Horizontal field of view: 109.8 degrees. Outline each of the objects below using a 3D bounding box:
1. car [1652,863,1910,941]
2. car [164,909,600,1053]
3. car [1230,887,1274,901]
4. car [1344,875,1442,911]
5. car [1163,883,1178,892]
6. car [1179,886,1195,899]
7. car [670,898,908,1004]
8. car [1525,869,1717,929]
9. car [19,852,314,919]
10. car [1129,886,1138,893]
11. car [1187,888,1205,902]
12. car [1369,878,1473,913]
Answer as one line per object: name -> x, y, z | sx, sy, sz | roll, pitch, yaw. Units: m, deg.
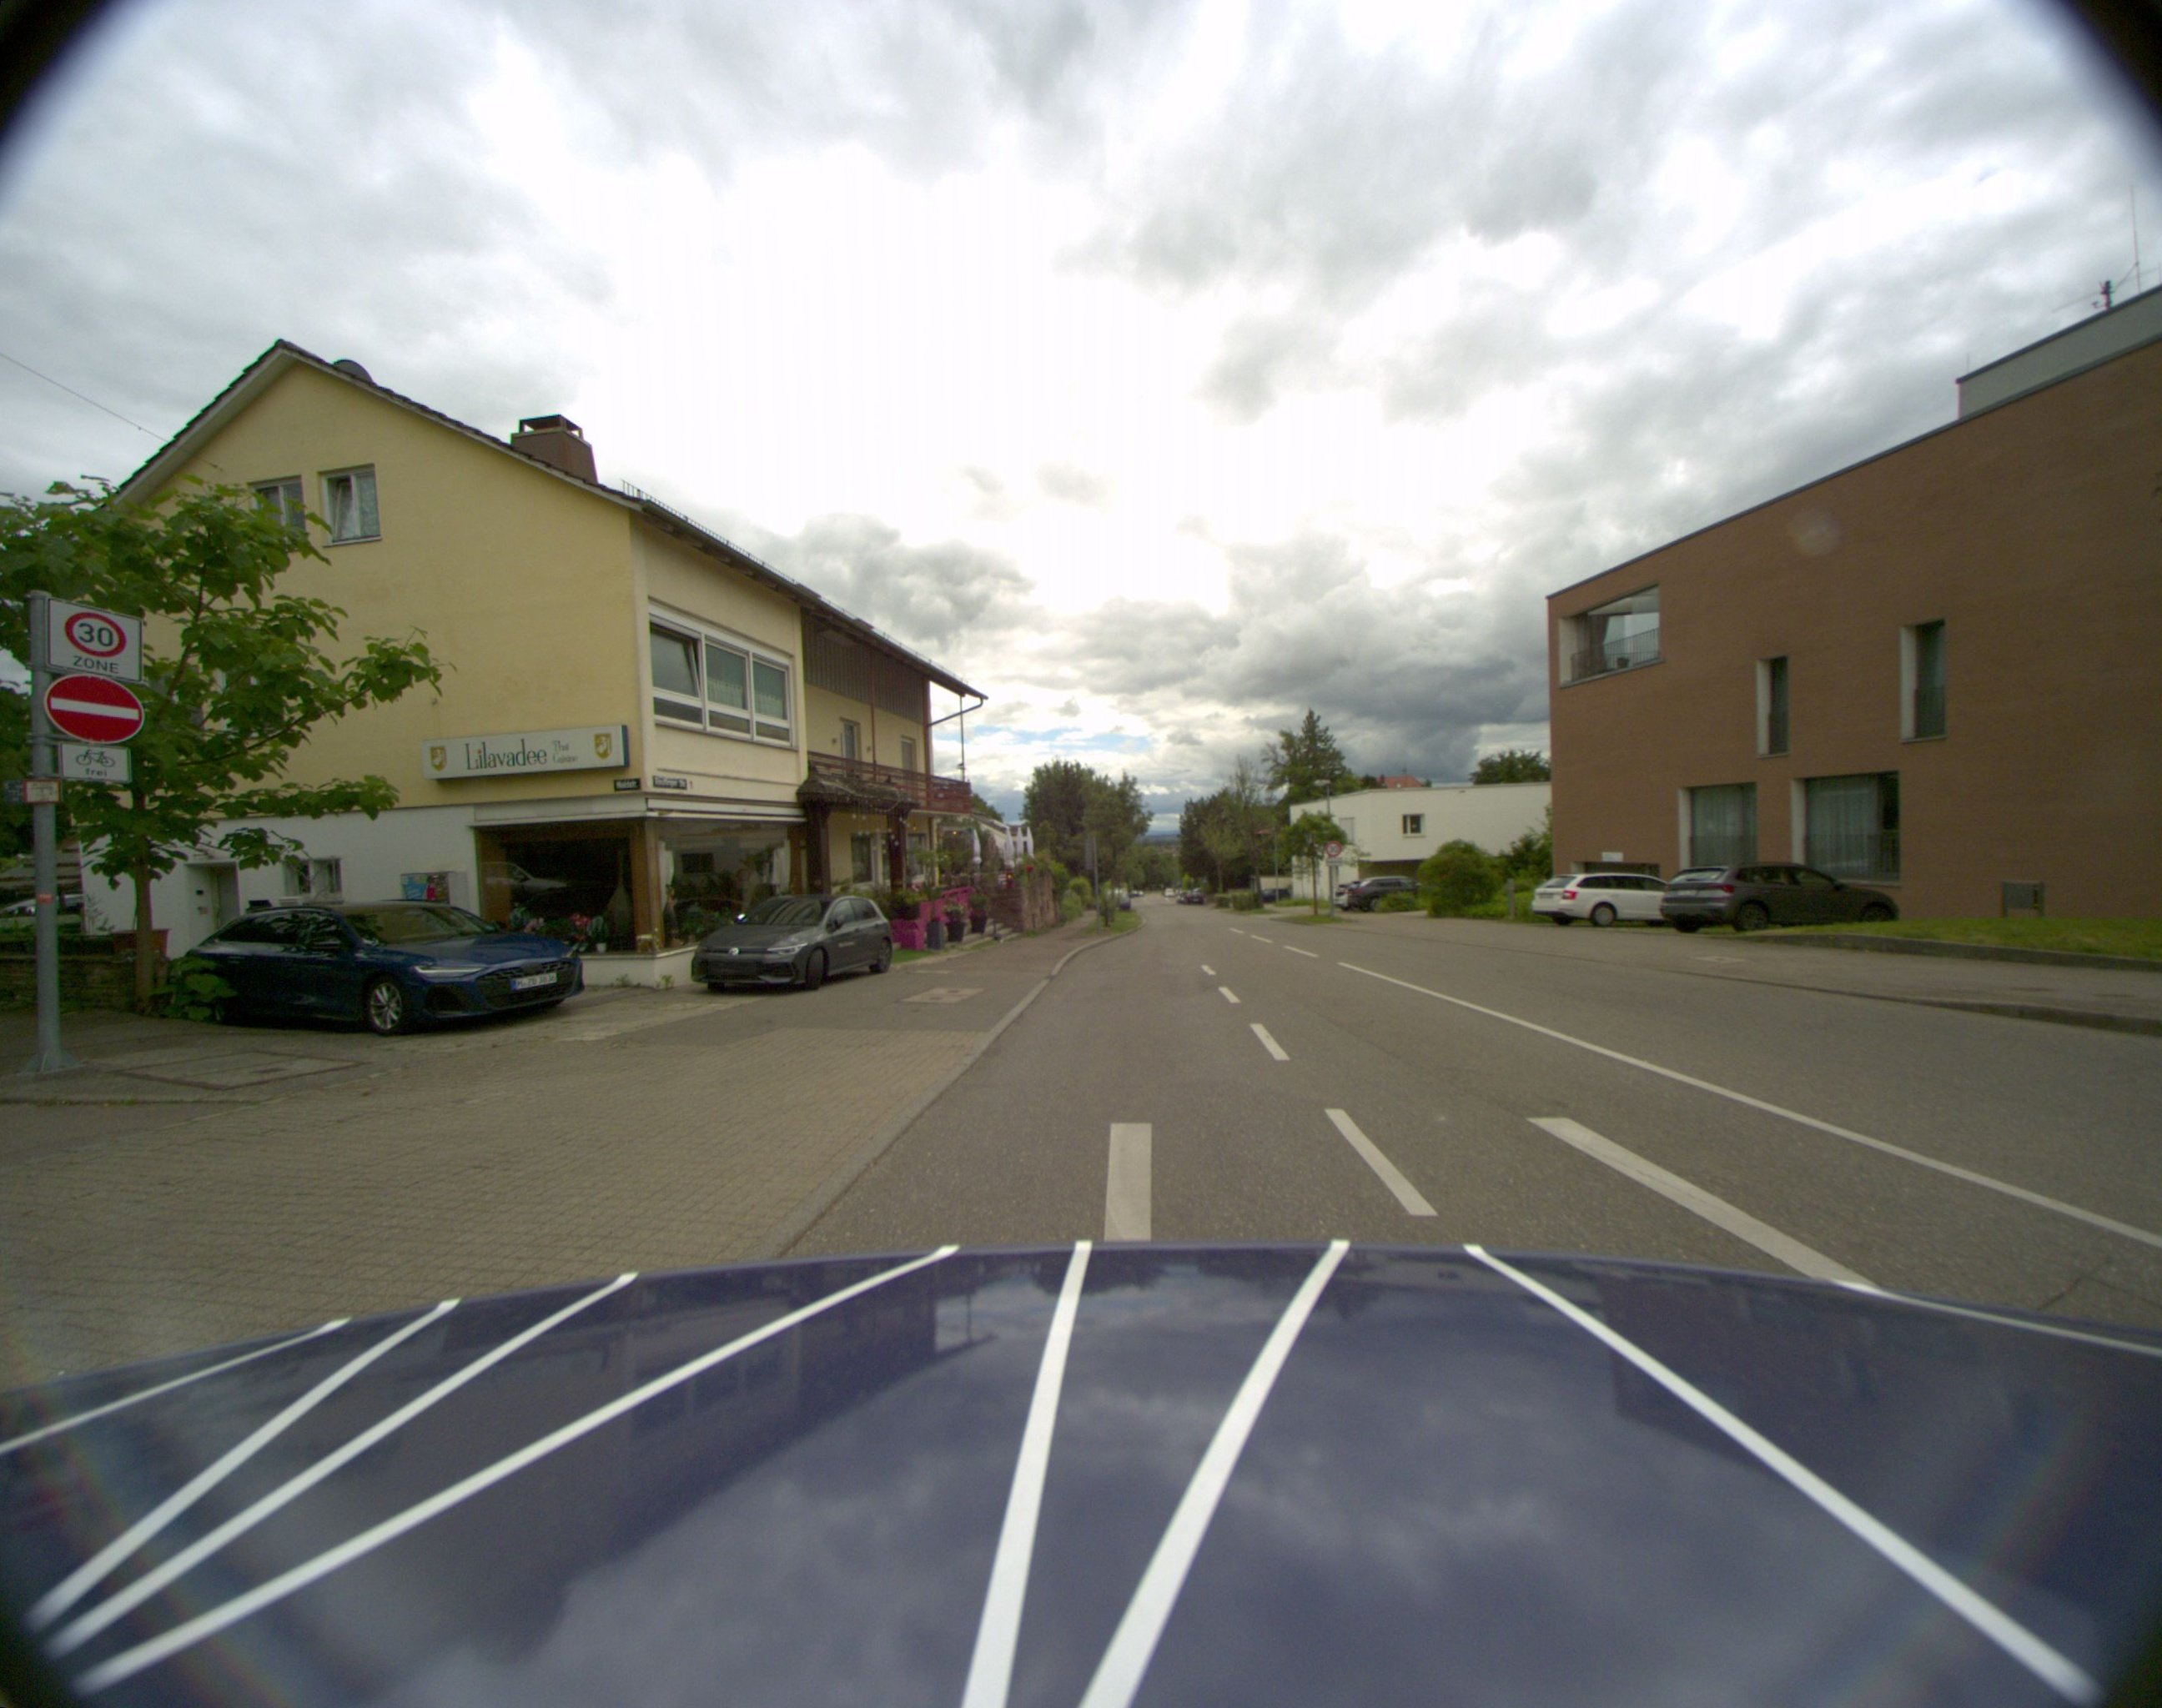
car -> 14.925, 1.009, 16.346 | 3.998, 1.476, 1.727 | -1, -3, -3
car -> -8.520, 1.415, 9.300 | 4.739, 1.378, 1.802 | -2, -1, 18
car -> 16.571, 3.876, 73.734 | 3.995, 1.278, 1.665 | -2, -3, 7
car -> 15.071, 1.890, 36.882 | 3.996, 1.585, 1.795 | -2, -3, 3
car -> 16.245, 6.056, 137.978 | 1.884, 1.412, 4.368 | -1, -1, -2
car -> 12.525, 4.545, 89.582 | 1.661, 1.412, 4.372 | -2, -3, 6
car -> -4.533, 1.475, 12.636 | 1.796, 1.452, 4.332 | -1, -4, 8
car -> 14.627, 1.215, 20.719 | 3.998, 1.476, 1.727 | -1, -3, -3
car -> -22.589, 0.831, 19.037 | 1.795, 1.452, 4.336 | -2, -4, 22
car -> 12.754, 8.562, 183.487 | 1.883, 1.412, 4.369 | -1, -1, 1
car -> 12.206, 4.291, 80.584 | 1.661, 1.412, 4.004 | -2, -3, 6
car -> 15.616, 1.891, 35.041 | 3.996, 1.476, 1.728 | -2, -3, 3
